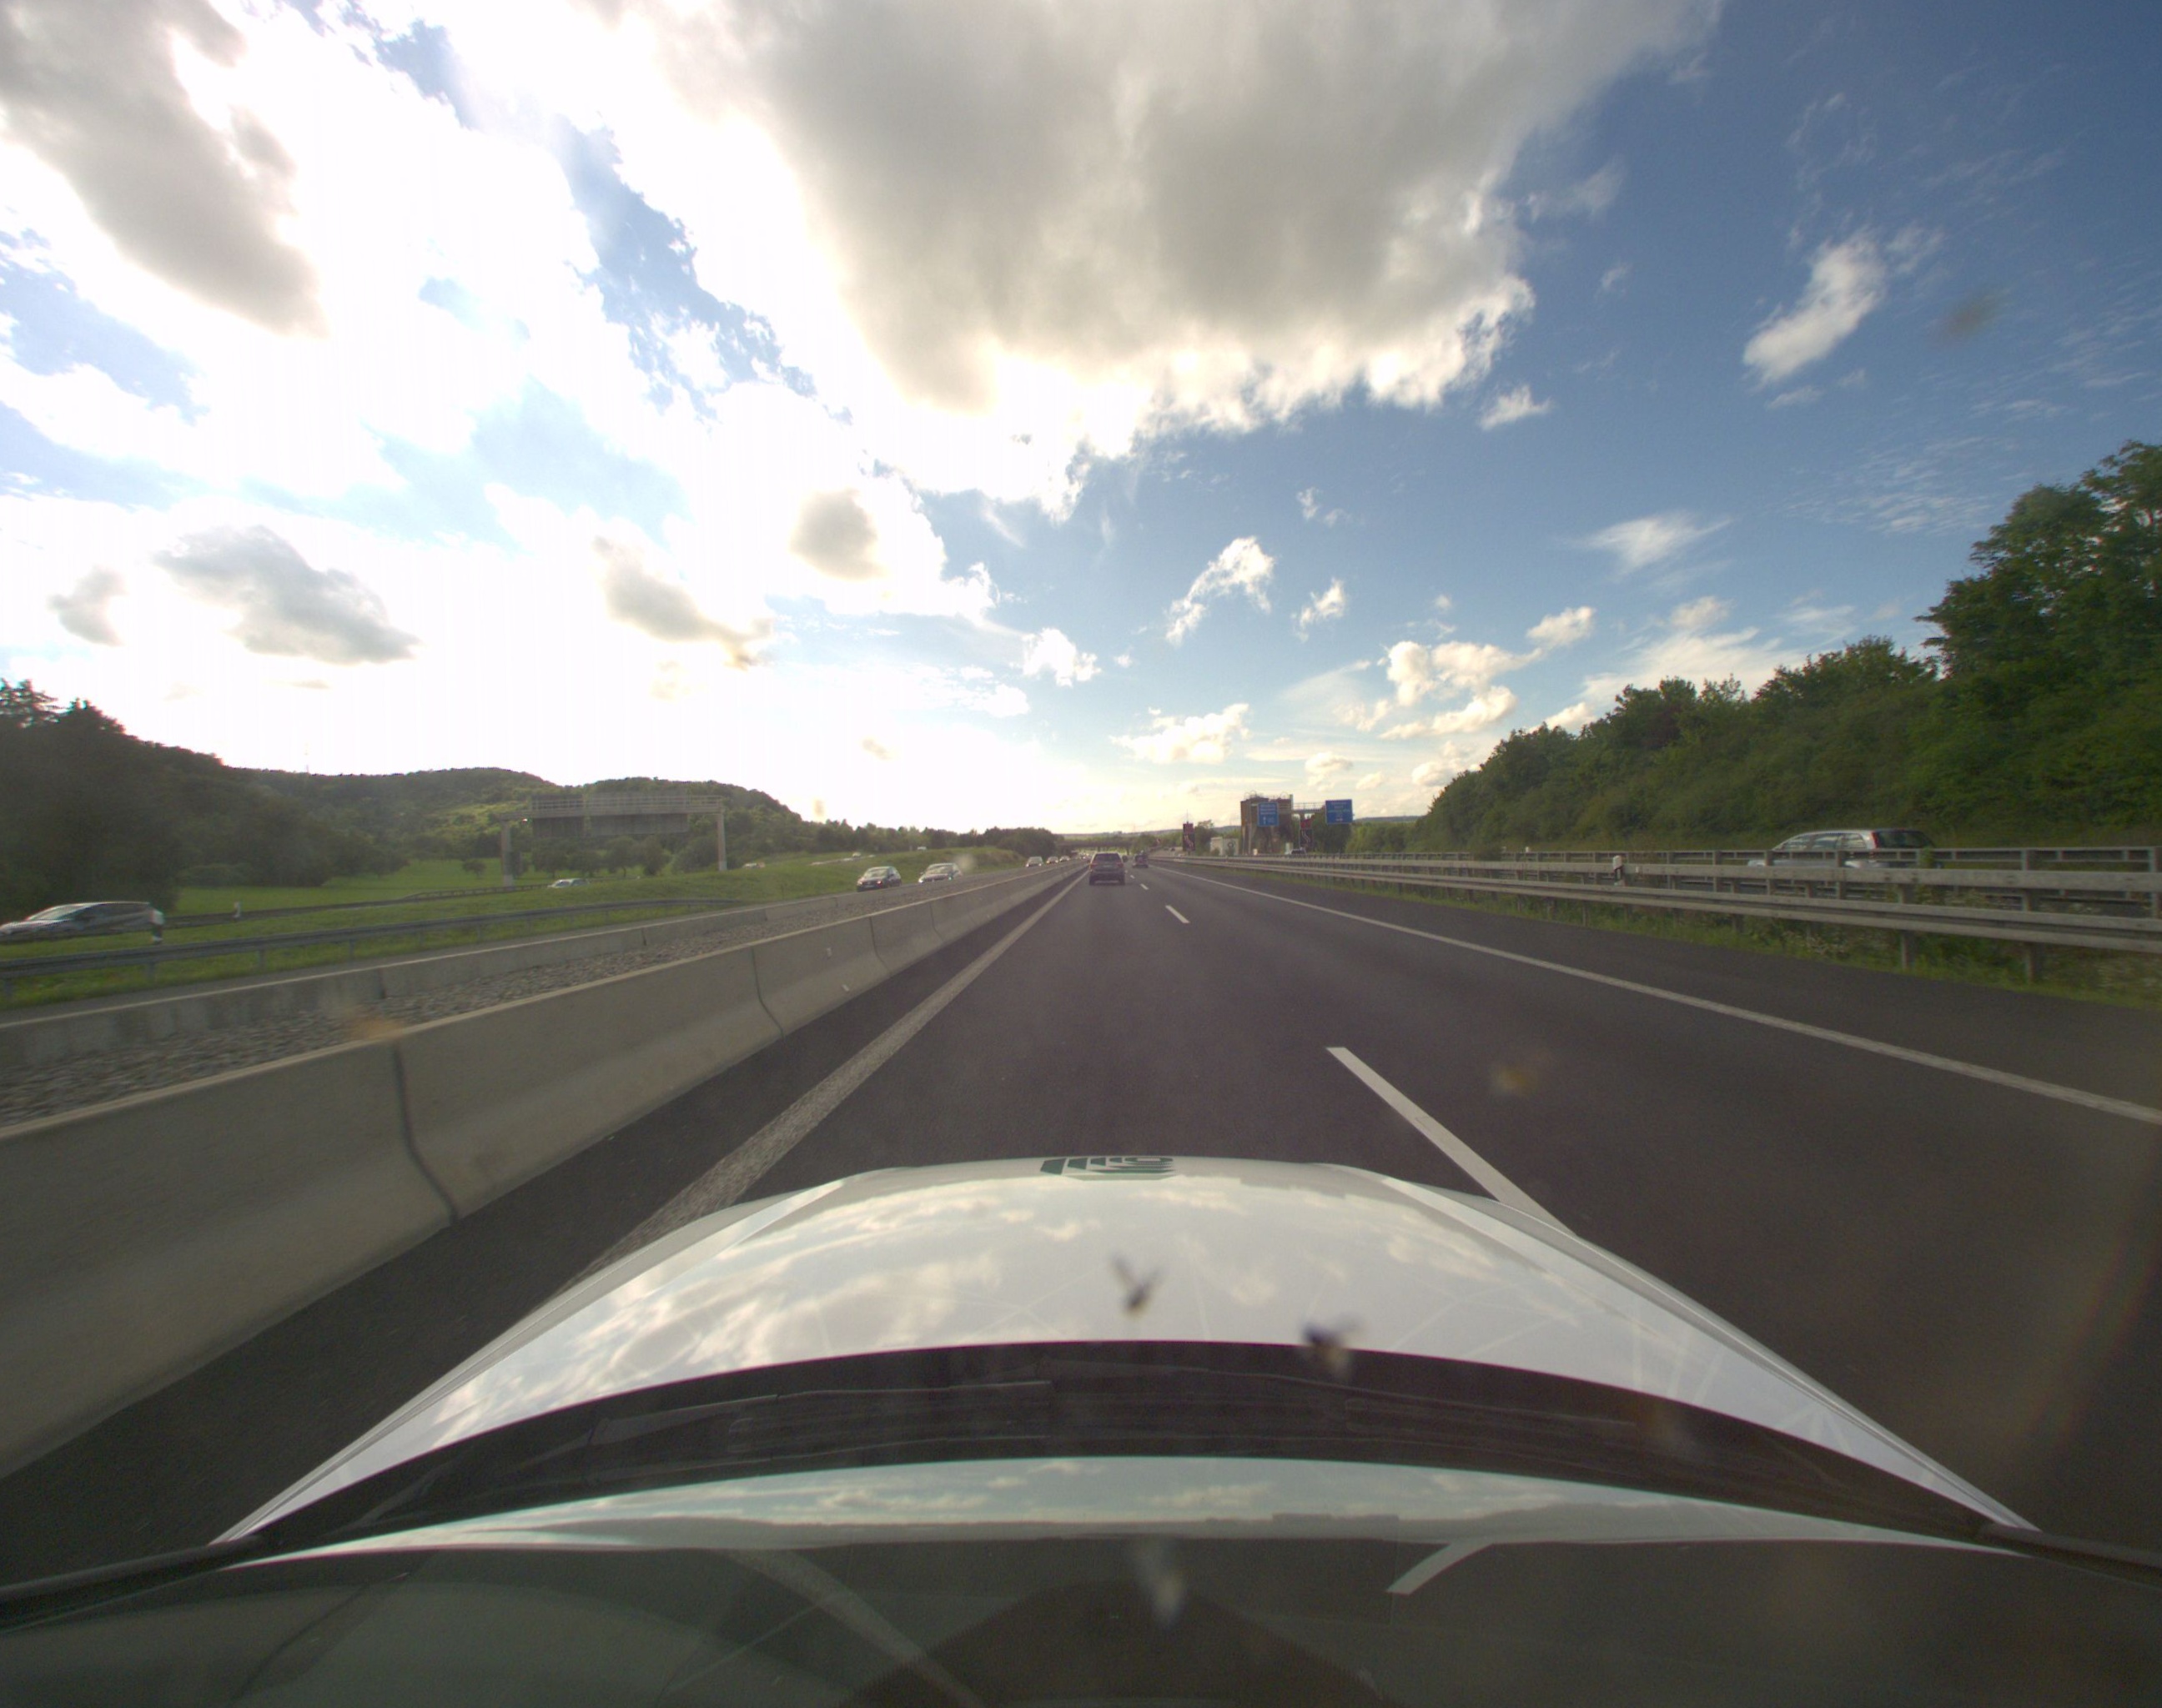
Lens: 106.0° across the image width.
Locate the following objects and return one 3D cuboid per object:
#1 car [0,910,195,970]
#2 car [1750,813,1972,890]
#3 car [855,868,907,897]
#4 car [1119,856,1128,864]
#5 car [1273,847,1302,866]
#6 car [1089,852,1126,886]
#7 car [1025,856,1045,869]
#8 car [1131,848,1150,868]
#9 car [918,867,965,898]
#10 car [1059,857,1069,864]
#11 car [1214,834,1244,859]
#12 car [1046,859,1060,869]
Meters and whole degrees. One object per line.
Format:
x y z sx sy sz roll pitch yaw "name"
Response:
-33.932 2.885 27.963 1.769 1.548 4.883 -3 0 -3 "car"
20.142 -0.054 21.314 1.986 1.708 4.002 -3 0 2 "car"
-11.215 1.581 46.036 1.721 1.398 4.160 -3 0 2 "car"
10.192 1.395 196.425 1.967 1.779 4.122 -3 0 2 "car"
20.807 0.267 82.161 1.986 1.717 4.002 -3 0 2 "car"
1.444 0.769 42.987 1.742 1.630 3.612 -3 0 3 "car"
-5.220 0.930 92.917 1.781 1.398 4.727 -3 0 2 "car"
6.778 0.463 93.253 1.986 2.081 4.002 -3 0 2 "car"
-7.215 1.448 42.454 1.635 1.398 3.743 -3 0 2 "car"
-3.472 1.352 170.287 1.781 1.398 4.625 -3 0 2 "car"
23.927 -1.149 131.990 3.563 3.676 7.552 -3 0 2 "car"
-4.459 1.624 129.815 1.781 1.398 4.801 -3 0 2 "car"
